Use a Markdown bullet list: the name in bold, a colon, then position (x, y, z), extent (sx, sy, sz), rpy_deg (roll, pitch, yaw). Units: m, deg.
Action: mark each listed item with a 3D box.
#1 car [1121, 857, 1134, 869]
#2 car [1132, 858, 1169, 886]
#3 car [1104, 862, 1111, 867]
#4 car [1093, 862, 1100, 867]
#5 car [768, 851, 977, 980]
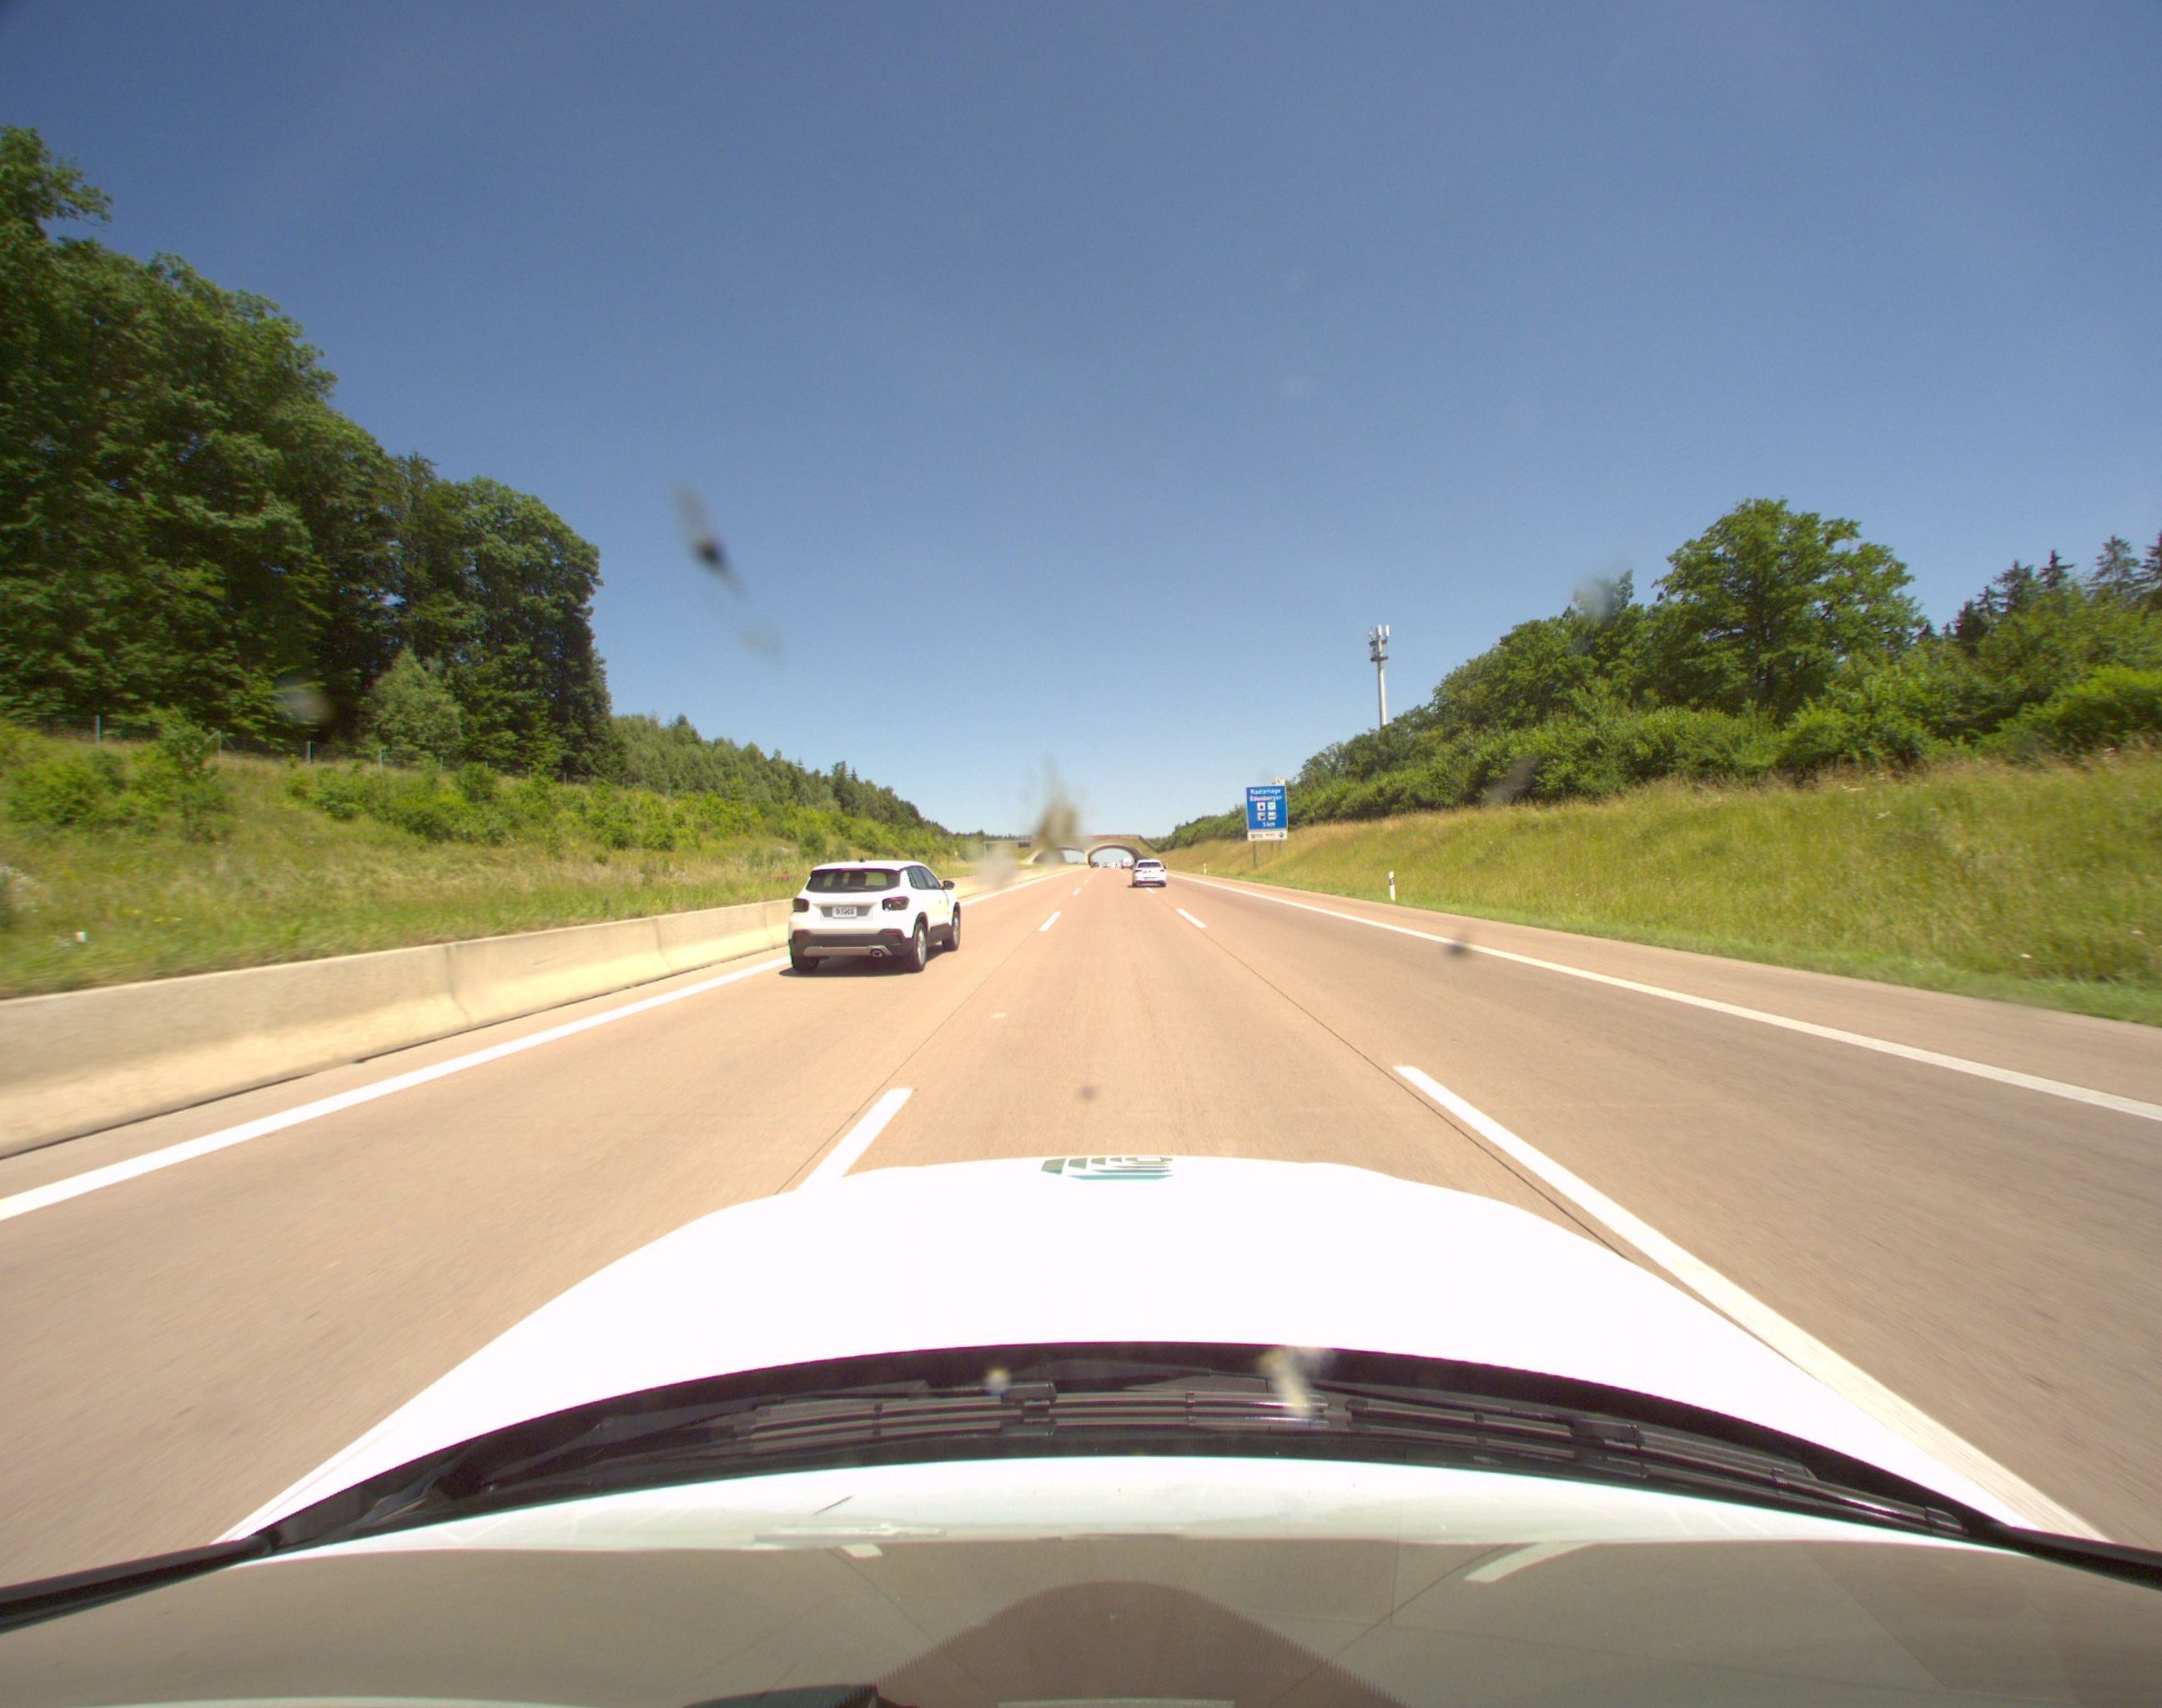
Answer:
- **car**: position (8.119, 1.559, 141.487), extent (2.101, 2.054, 4.004), rpy_deg (-1, 0, 4)
- **car**: position (3.699, 0.926, 43.681), extent (1.882, 1.398, 4.004), rpy_deg (0, 0, 4)
- **car**: position (7.231, 2.847, 222.201), extent (1.883, 1.463, 4.002), rpy_deg (0, 0, 2)
- **car**: position (4.839, 3.305, 253.924), extent (1.882, 1.463, 4.004), rpy_deg (-1, 0, 4)
- **car**: position (-2.970, 0.791, 12.795), extent (1.872, 1.607, 4.835), rpy_deg (-1, 0, 2)
